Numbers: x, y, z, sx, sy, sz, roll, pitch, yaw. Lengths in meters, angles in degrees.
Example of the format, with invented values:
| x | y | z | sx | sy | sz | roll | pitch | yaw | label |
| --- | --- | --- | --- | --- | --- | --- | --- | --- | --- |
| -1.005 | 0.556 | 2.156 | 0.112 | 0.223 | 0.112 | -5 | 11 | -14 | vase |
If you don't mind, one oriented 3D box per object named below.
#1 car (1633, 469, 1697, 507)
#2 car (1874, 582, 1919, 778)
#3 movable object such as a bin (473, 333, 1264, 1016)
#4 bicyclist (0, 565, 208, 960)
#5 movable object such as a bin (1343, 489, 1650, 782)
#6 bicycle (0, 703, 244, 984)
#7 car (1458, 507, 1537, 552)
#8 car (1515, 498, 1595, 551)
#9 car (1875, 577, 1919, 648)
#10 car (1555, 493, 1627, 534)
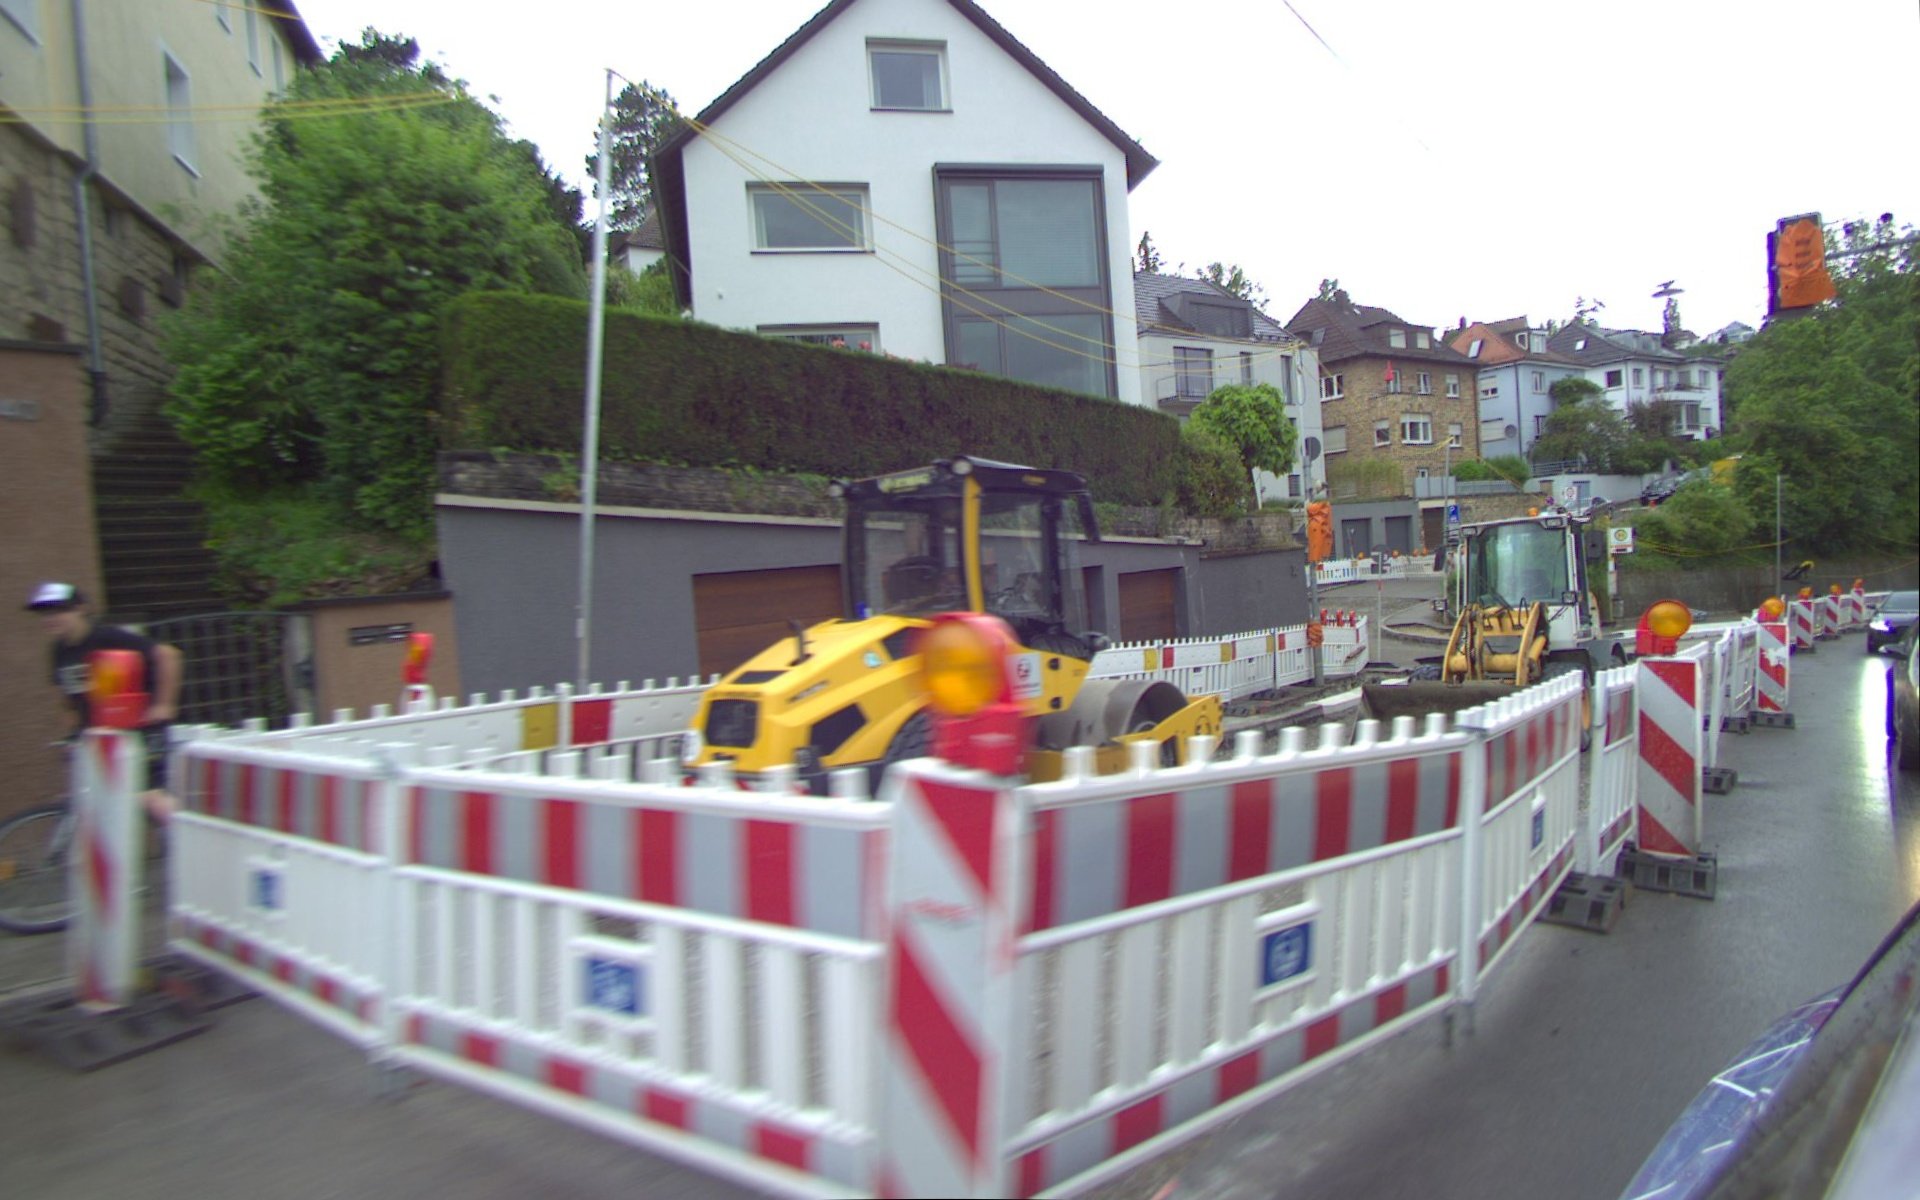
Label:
| x | y | z | sx | sy | sz | roll | pitch | yaw | label |
| --- | --- | --- | --- | --- | --- | --- | --- | --- | --- |
| 43.083 | -6.829 | 61.803 | 3.898 | 1.652 | 1.861 | -14 | 8 | -33 | car |
| 9.861 | 0.624 | 9.466 | 1.667 | 1.484 | 4.651 | 0 | 2 | 39 | car |
| -0.102 | 0.301 | 7.067 | 2.084 | 2.874 | 5.591 | -2 | -1 | 42 | movable object such as a bin |
| -4.532 | 0.735 | 5.013 | 0.913 | 1.750 | 1.079 | -2 | 0 | -14 | bicyclist |
| 6.945 | 0.210 | 12.684 | 2.084 | 2.873 | 5.594 | -2 | 2 | 42 | movable object such as a bin |
| -4.527 | 1.125 | 5.063 | 0.913 | 0.993 | 1.833 | -2 | 0 | -14 | bicycle |
| 26.899 | -3.533 | 50.598 | 3.768 | 1.652 | 1.861 | -12 | 8 | -34 | car |
| 31.426 | -4.010 | 53.427 | 4.354 | 2.099 | 1.902 | -12 | 8 | -34 | car |
| 22.014 | 0.229 | 22.868 | 1.836 | 1.420 | 4.013 | 0 | 2 | 40 | car |
| 34.827 | -4.800 | 55.838 | 3.896 | 1.652 | 1.861 | -12 | 8 | -34 | car |
